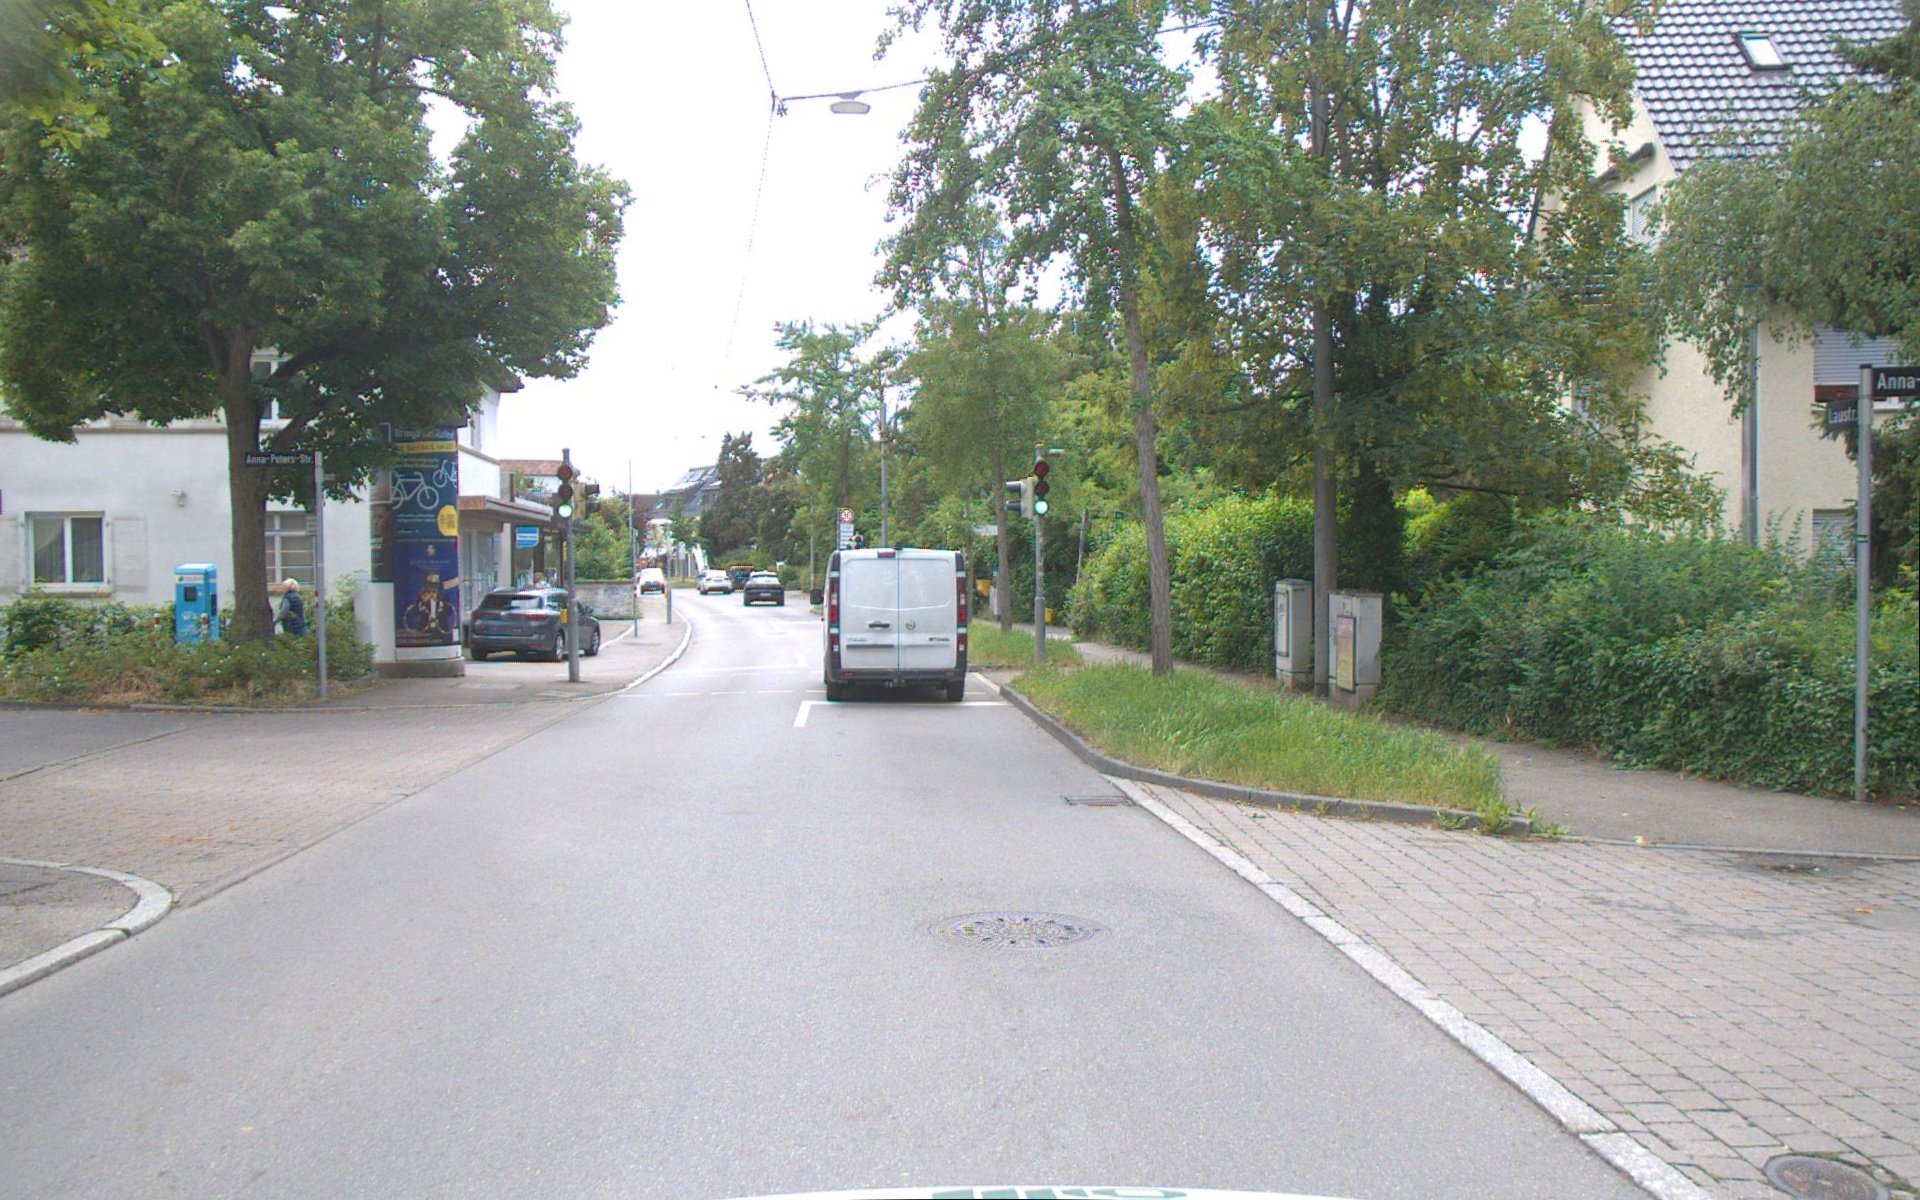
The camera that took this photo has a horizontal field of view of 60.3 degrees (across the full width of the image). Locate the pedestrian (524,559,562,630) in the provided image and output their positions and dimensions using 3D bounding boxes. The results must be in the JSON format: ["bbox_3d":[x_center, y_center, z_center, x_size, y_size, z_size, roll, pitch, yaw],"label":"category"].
[{"bbox_3d":[-10.690,-0.140,42.421,0.866,1.781,0.961,1,0,-11],"label":"pedestrian"}]

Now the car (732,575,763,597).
[{"bbox_3d":[-15.732,-1.031,122.401,1.861,1.639,4.486,0,1,-13],"label":"car"}]

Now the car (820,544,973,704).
[{"bbox_3d":[-0.975,0.282,22.999,1.892,1.998,4.397,0,1,-5],"label":"car"}]

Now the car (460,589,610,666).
[{"bbox_3d":[-8.841,0.544,34.762,1.742,1.466,4.527,1,0,3],"label":"car"}]

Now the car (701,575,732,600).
[{"bbox_3d":[-16.884,-0.869,114.592,1.793,1.758,3.987,0,1,-13],"label":"car"}]

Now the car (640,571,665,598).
[{"bbox_3d":[-24.011,-1.250,129.059,1.834,1.944,5.101,-3,2,-11],"label":"car"}]

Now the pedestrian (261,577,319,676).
[{"bbox_3d":[-11.322,0.438,27.966,0.683,1.644,0.715,0,1,0],"label":"pedestrian"}]

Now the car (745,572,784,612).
[{"bbox_3d":[-9.554,-0.418,81.004,1.860,1.892,4.398,0,1,-7],"label":"car"}]
